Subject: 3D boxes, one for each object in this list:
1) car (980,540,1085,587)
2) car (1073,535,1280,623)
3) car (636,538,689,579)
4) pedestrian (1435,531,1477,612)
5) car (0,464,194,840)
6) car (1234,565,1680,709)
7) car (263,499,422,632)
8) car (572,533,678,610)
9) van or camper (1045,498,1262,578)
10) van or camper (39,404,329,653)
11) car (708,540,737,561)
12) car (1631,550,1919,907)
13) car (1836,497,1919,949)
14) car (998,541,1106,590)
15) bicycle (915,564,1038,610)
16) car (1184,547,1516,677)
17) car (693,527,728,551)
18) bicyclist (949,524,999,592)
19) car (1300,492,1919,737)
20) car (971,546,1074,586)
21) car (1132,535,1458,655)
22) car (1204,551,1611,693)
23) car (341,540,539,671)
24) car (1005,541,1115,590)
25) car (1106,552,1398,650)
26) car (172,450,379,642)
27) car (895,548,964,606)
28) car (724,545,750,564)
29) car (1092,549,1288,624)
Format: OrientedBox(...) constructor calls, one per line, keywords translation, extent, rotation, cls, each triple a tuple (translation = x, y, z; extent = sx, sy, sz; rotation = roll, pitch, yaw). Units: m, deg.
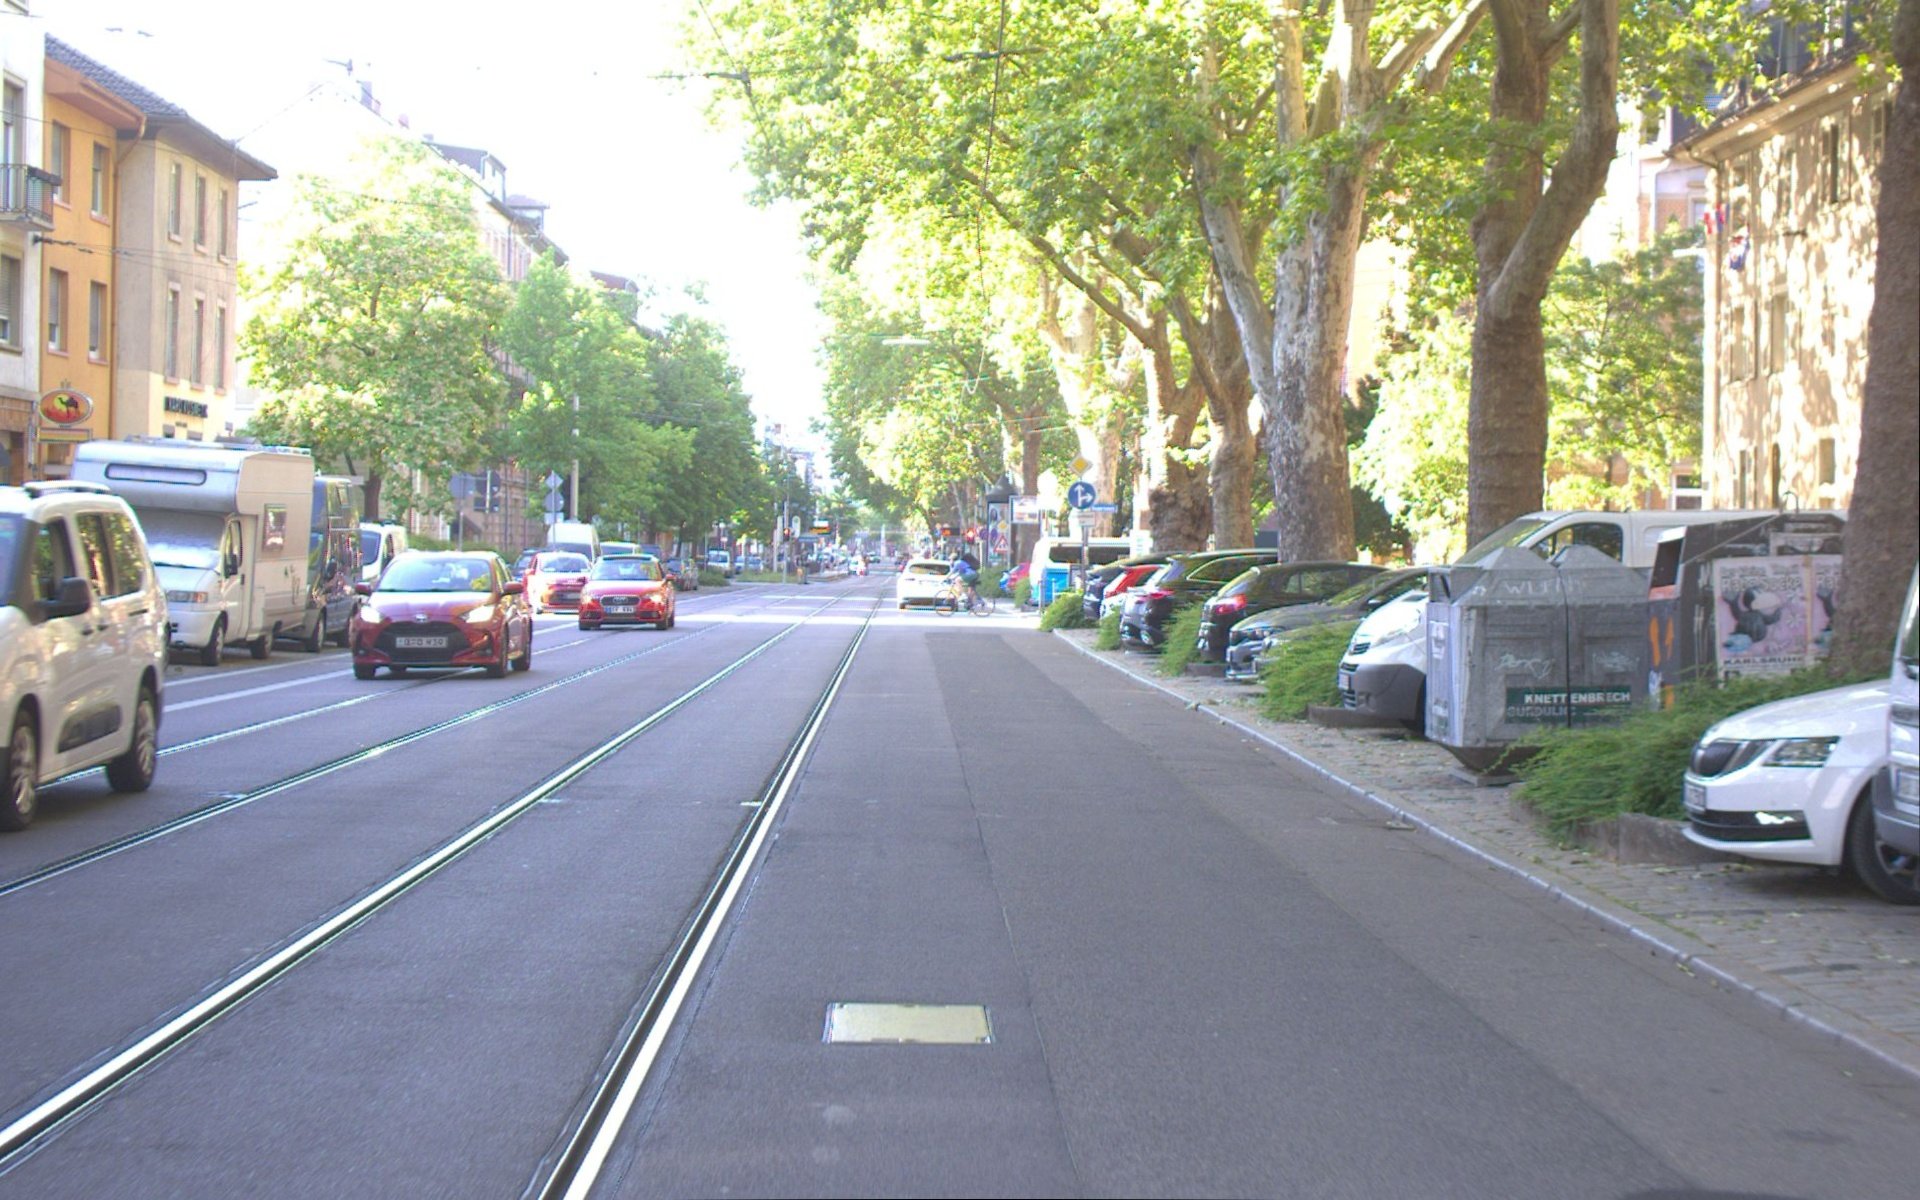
OrientedBox(translation=(2.794, -1.413, 132.957), extent=(3.987, 1.778, 2.000), rotation=(1, 1, 0), cls="car")
OrientedBox(translation=(4.304, -0.432, 68.868), extent=(3.923, 1.664, 1.961), rotation=(1, 1, -2), cls="car")
OrientedBox(translation=(-13.093, -1.833, 151.730), extent=(1.993, 1.739, 4.659), rotation=(1, 1, -1), cls="car")
OrientedBox(translation=(10.716, -0.628, 74.331), extent=(0.760, 1.733, 0.821), rotation=(1, 1, -1), cls="pedestrian")
OrientedBox(translation=(-5.632, 0.202, 18.752), extent=(1.891, 1.825, 4.896), rotation=(1, 1, -1), cls="car")
OrientedBox(translation=(5.065, 0.357, 35.494), extent=(4.397, 1.376, 1.804), rotation=(1, 1, 3), cls="car")
OrientedBox(translation=(-10.678, -0.649, 59.794), extent=(1.952, 2.084, 5.249), rotation=(4, 2, -3), cls="car")
OrientedBox(translation=(-6.494, -0.571, 66.948), extent=(1.723, 1.432, 4.069), rotation=(0, 1, -1), cls="car")
OrientedBox(translation=(5.201, -1.677, 92.895), extent=(5.554, 2.006, 2.245), rotation=(1, 3, -5), cls="van or camper")
OrientedBox(translation=(-10.500, -0.971, 47.116), extent=(2.337, 3.030, 6.397), rotation=(4, 1, 0), cls="van or camper")
OrientedBox(translation=(-16.044, -3.358, 232.315), extent=(1.918, 1.414, 3.591), rotation=(1, 1, -3), cls="car")
OrientedBox(translation=(5.473, 0.583, 16.007), extent=(4.371, 1.536, 1.801), rotation=(1, 2, 3), cls="car")
OrientedBox(translation=(5.715, 0.501, 13.981), extent=(3.844, 1.766, 1.916), rotation=(1, 1, 3), cls="car")
OrientedBox(translation=(3.445, -1.317, 129.699), extent=(3.987, 1.778, 2.000), rotation=(1, 1, 0), cls="car")
OrientedBox(translation=(0.419, -0.330, 86.583), extent=(2.947, 1.101, 1.052), rotation=(1, 1, -10), cls="bicycle")
OrientedBox(translation=(4.755, 0.129, 42.279), extent=(3.838, 1.504, 1.711), rotation=(1, 1, -1), cls="car")
OrientedBox(translation=(-14.530, -3.547, 199.972), extent=(1.918, 1.414, 3.721), rotation=(0, 1, -3), cls="car")
OrientedBox(translation=(0.345, -1.061, 86.551), extent=(1.045, 1.700, 1.058), rotation=(1, 1, -10), cls="bicyclist")
OrientedBox(translation=(5.487, 0.107, 29.471), extent=(4.835, 1.956, 2.065), rotation=(1, 1, -3), cls="car")
OrientedBox(translation=(2.440, -1.334, 135.262), extent=(3.987, 1.515, 2.000), rotation=(1, 1, 0), cls="car")
OrientedBox(translation=(4.712, -0.086, 48.907), extent=(4.497, 1.596, 2.027), rotation=(-1, 1, 3), cls="car")
OrientedBox(translation=(4.937, 0.223, 38.373), extent=(4.247, 1.478, 1.898), rotation=(1, 1, -1), cls="car")
OrientedBox(translation=(-6.077, 0.023, 40.574), extent=(1.775, 1.453, 4.203), rotation=(0, 1, -1), cls="car")
OrientedBox(translation=(3.704, -1.282, 127.418), extent=(3.987, 1.778, 2.000), rotation=(1, 1, 0), cls="car")
OrientedBox(translation=(4.497, 0.002, 53.389), extent=(4.295, 1.434, 1.948), rotation=(1, 1, -2), cls="car")
OrientedBox(translation=(-10.614, -0.850, 53.732), extent=(2.086, 2.722, 5.310), rotation=(4, 1, -1), cls="car")
OrientedBox(translation=(-0.887, -0.666, 97.672), extent=(1.918, 1.579, 3.791), rotation=(0, 1, -1), cls="car")
OrientedBox(translation=(-16.486, -3.378, 254.410), extent=(1.918, 1.414, 3.591), rotation=(1, 1, -3), cls="car")
OrientedBox(translation=(4.427, -0.269, 66.648), extent=(3.650, 1.373, 1.890), rotation=(1, 1, 0), cls="car")
